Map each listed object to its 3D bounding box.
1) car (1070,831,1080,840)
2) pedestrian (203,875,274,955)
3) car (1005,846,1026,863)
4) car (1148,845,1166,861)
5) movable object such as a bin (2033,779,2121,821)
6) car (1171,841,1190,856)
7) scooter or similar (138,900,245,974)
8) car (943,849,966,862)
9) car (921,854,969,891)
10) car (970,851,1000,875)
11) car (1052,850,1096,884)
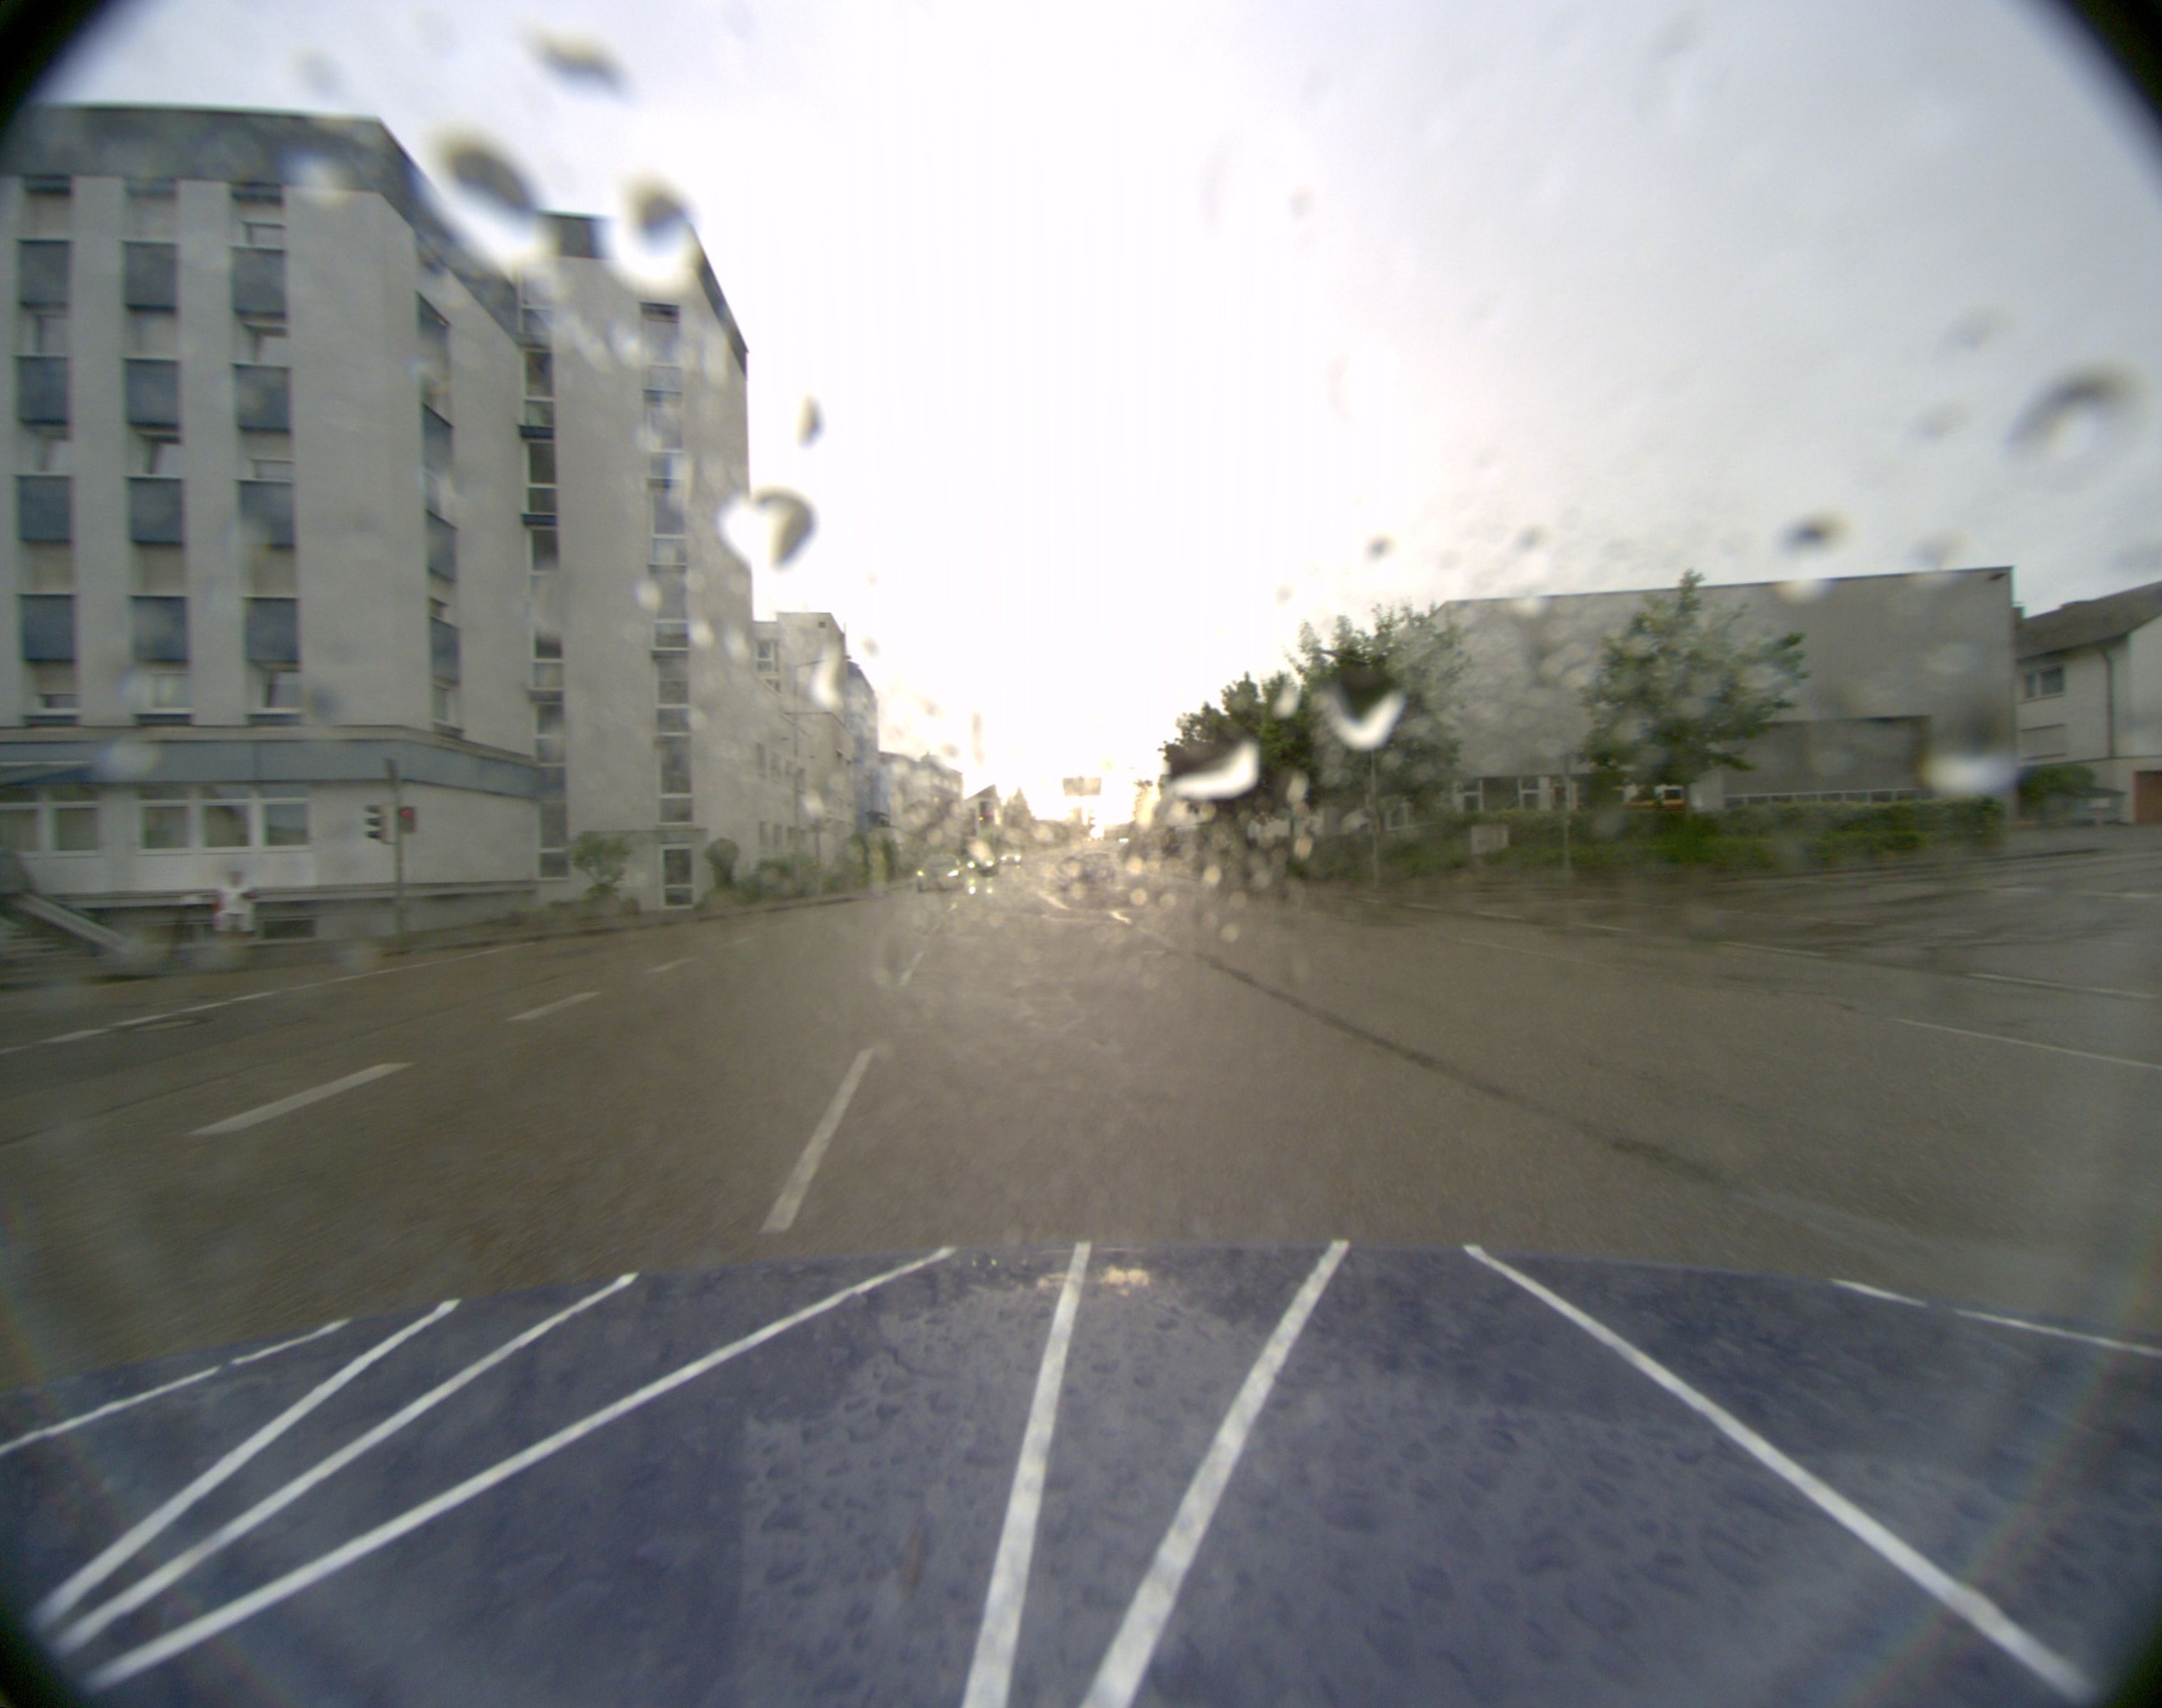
[{"bbox_3d":[-1.432,-4.372,180.861,1.998,2.002,3.999,-5,1,1],"label":"car"},{"bbox_3d":[-18.489,1.322,16.689,0.646,1.642,0.656,-6,2,-9],"label":"pedestrian"},{"bbox_3d":[-6.649,0.036,77.452,1.899,1.535,4.019,-2,0,-2],"label":"car"},{"bbox_3d":[7.755,-0.134,77.730,1.736,1.470,4.022,-2,0,6],"label":"car"},{"bbox_3d":[40.260,-2.153,30.735,1.587,1.526,1.449,-3,1,6],"label":"movable object such as a bin"},{"bbox_3d":[10.176,-0.599,77.997,1.736,1.470,4.022,-2,0,6],"label":"car"},{"bbox_3d":[-16.990,1.565,14.554,0.802,1.220,1.060,-6,2,-18],"label":"scooter or similar"},{"bbox_3d":[-13.339,0.131,80.189,1.658,1.280,3.881,-3,1,0],"label":"car"},{"bbox_3d":[-6.000,0.768,33.922,1.742,1.477,4.147,-1,0,-6],"label":"car"},{"bbox_3d":[-6.546,0.601,52.053,1.754,1.470,3.998,-2,1,-5],"label":"car"},{"bbox_3d":[-0.410,0.618,39.441,1.694,1.546,3.903,-4,1,-9],"label":"car"}]
